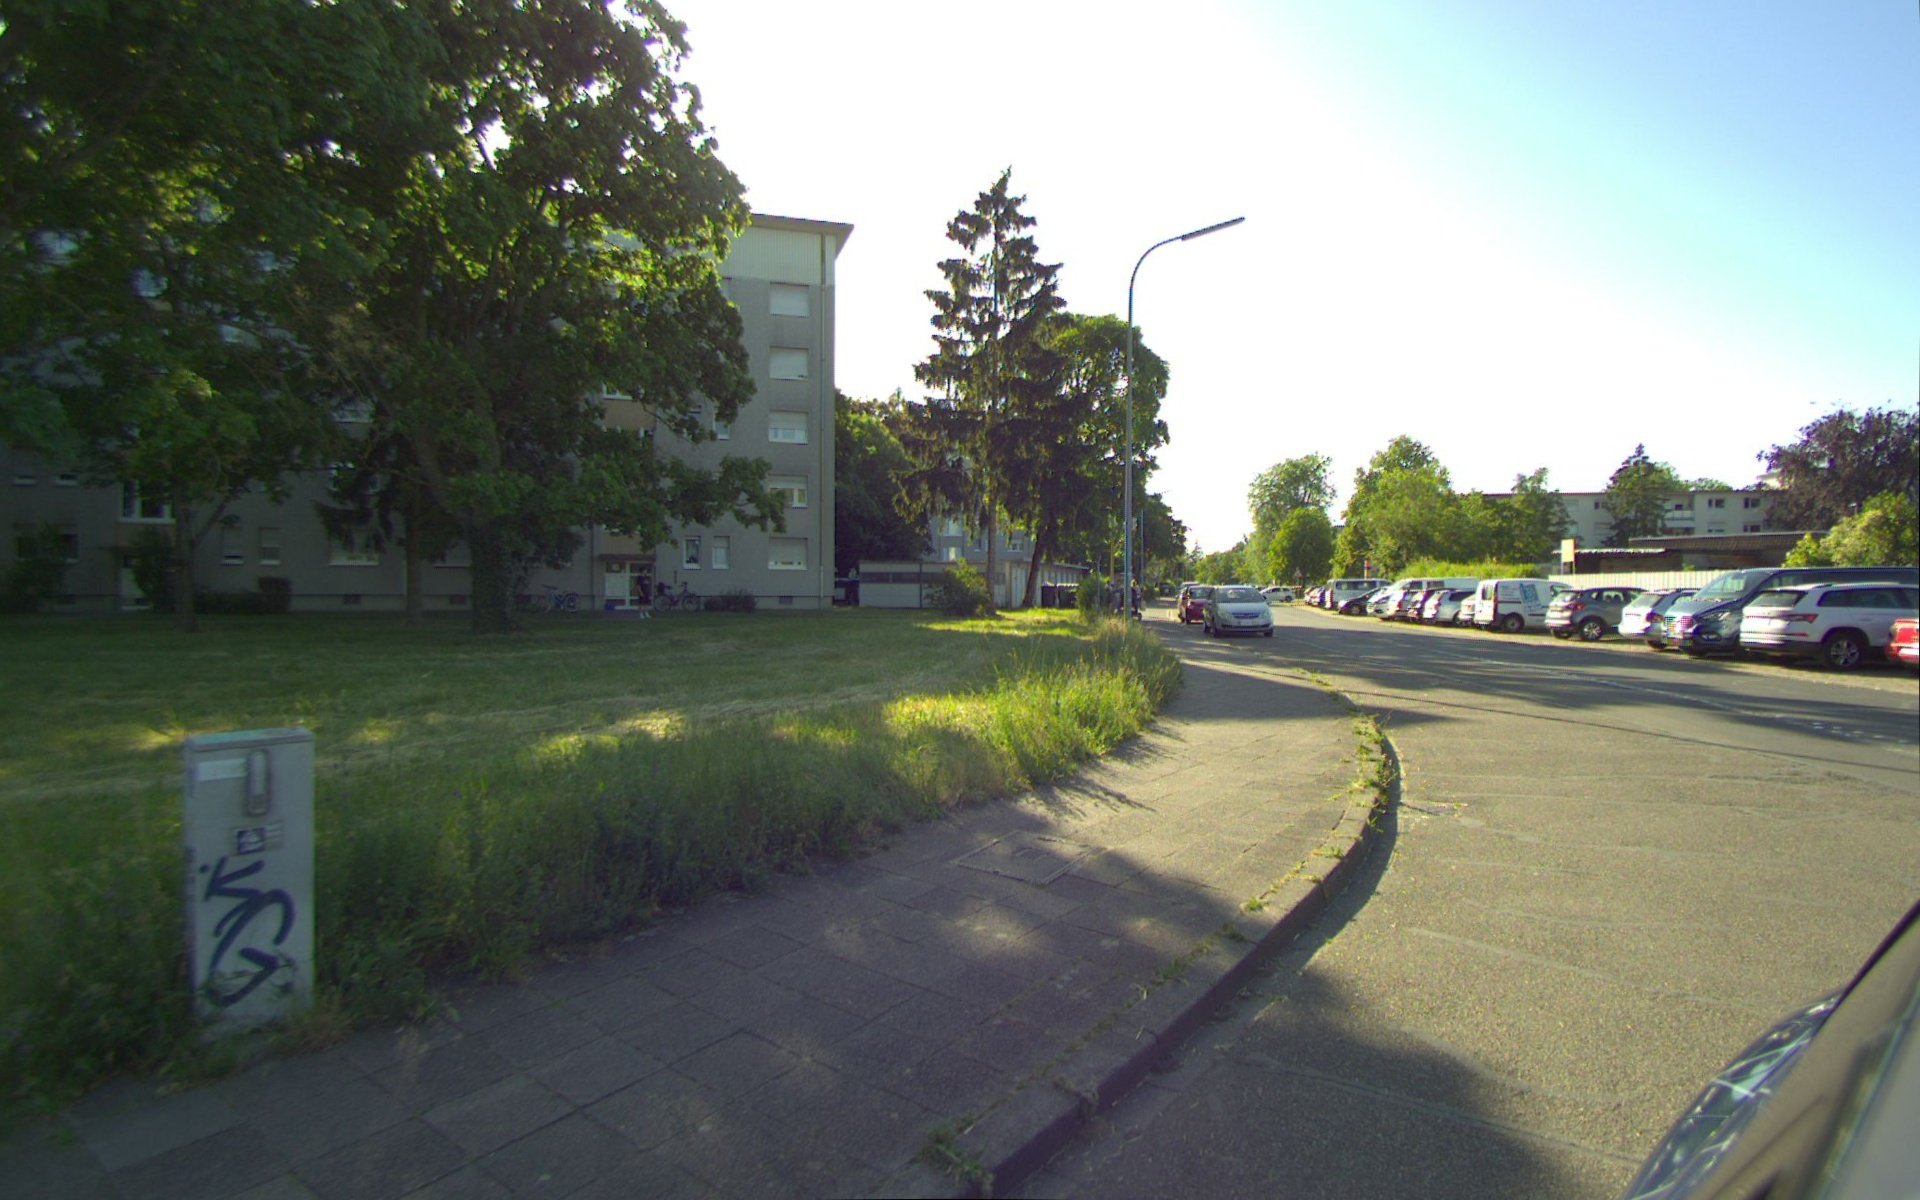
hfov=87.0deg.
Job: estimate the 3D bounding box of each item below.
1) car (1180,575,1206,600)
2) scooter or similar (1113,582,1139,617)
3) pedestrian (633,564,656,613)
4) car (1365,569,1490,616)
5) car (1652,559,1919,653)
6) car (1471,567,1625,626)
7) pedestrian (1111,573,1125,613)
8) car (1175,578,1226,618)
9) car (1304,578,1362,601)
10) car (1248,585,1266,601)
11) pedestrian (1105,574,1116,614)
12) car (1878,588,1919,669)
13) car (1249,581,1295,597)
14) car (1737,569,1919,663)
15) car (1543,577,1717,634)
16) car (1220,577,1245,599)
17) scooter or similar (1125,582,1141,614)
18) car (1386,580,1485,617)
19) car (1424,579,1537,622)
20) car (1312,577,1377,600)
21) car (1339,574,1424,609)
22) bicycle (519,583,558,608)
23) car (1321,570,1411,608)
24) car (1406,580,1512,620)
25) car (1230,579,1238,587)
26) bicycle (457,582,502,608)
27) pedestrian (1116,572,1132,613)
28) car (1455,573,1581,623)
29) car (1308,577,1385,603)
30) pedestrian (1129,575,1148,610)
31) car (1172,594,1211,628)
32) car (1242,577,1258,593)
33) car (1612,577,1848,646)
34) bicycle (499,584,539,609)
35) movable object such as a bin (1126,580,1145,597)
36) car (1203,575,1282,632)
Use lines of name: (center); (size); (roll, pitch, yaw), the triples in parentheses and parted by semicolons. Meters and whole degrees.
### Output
car: (18.635, -0.982, 80.929); (1.884, 1.863, 5.254); (-2, 0, 13)
scooter or similar: (6.214, -0.035, 37.910); (0.392, 1.242, 1.257); (0, 2, -21)
pedestrian: (-10.943, -0.407, 35.071); (0.485, 1.683, 0.532); (-2, 1, 20)
car: (21.324, -0.356, 46.372); (4.724, 1.944, 2.077); (-2, 1, 8)
car: (18.237, 0.098, 22.100); (4.799, 1.939, 1.999); (0, 1, 3)
car: (19.592, -0.111, 33.864); (3.921, 1.803, 1.922); (-2, 0, 7)
pedestrian: (6.332, -0.291, 40.486); (0.478, 1.583, 0.468); (2, 2, 6)
car: (9.518, -0.119, 40.317); (1.554, 1.464, 3.782); (-1, 1, 7)
car: (28.460, -0.819, 77.307); (3.939, 1.551, 1.825); (-2, 1, 13)
car: (35.692, -0.855, 121.773); (1.792, 1.703, 3.633); (3, 1, 14)
pedestrian: (5.823, -0.242, 39.117); (0.356, 1.521, 0.500); (2, 2, 7)
car: (18.150, 0.446, 17.072); (3.562, 1.361, 1.730); (-2, 1, 7)
car: (30.533, -1.073, 98.986); (3.923, 1.475, 1.564); (-2, 1, -1)
car: (17.509, 0.277, 19.521); (3.562, 1.627, 1.730); (-2, 1, 7)
car: (19.303, 0.147, 29.294); (3.758, 1.551, 1.787); (0, 1, 5)
car: (20.318, -0.906, 75.518); (1.708, 1.615, 3.797); (0, 1, 14)
scooter or similar: (6.906, -0.102, 40.409); (0.614, 1.242, 0.903); (1, 1, 9)
car: (20.549, -0.079, 43.862); (3.463, 1.464, 1.634); (-2, 1, 6)
car: (19.911, 0.023, 38.823); (3.471, 1.508, 1.631); (-2, 0, 13)
car: (26.479, -0.781, 69.841); (3.941, 1.498, 1.783); (-2, 0, 14)
car: (22.701, -0.442, 54.673); (4.113, 1.727, 1.872); (-2, 1, 21)
bicycle: (-15.544, -0.161, 37.324); (0.504, 0.857, 1.676); (-2, 1, 9)
car: (23.089, -0.642, 57.717); (4.425, 2.001, 1.993); (-2, 1, 13)
car: (20.224, -0.004, 41.108); (3.466, 1.508, 1.633); (-1, -1, 8)
car: (63.902, -3.938, 236.349); (1.610, 1.649, 3.541); (3, 1, 14)
bicycle: (-16.413, -0.183, 34.577); (0.504, 0.857, 1.676); (-2, 1, 9)
pedestrian: (6.406, -0.299, 39.428); (0.477, 1.583, 0.593); (2, 2, 20)
car: (19.935, -0.082, 36.276); (3.466, 1.507, 1.725); (-3, 2, 8)
car: (25.158, -0.638, 66.009); (4.491, 1.498, 1.740); (-2, 0, 15)
pedestrian: (8.234, -0.333, 46.663); (0.777, 1.584, 0.568); (-2, 1, 10)
car: (10.898, 0.493, 47.803); (1.626, 1.420, 3.871); (1, 2, 10)
car: (38.742, -1.974, 135.261); (1.884, 1.965, 4.491); (3, 1, 14)
car: (18.580, 0.253, 24.607); (4.081, 1.511, 1.921); (-1, 1, 9)
bicycle: (-16.254, -0.137, 37.348); (0.504, 0.857, 1.676); (-2, 1, 9)
movable object such as a bin: (13.867, -0.924, 79.989); (1.241, 1.364, 1.044); (1, 2, 26)
car: (8.321, 0.065, 30.117); (1.707, 1.562, 3.782); (-1, 1, 7)
